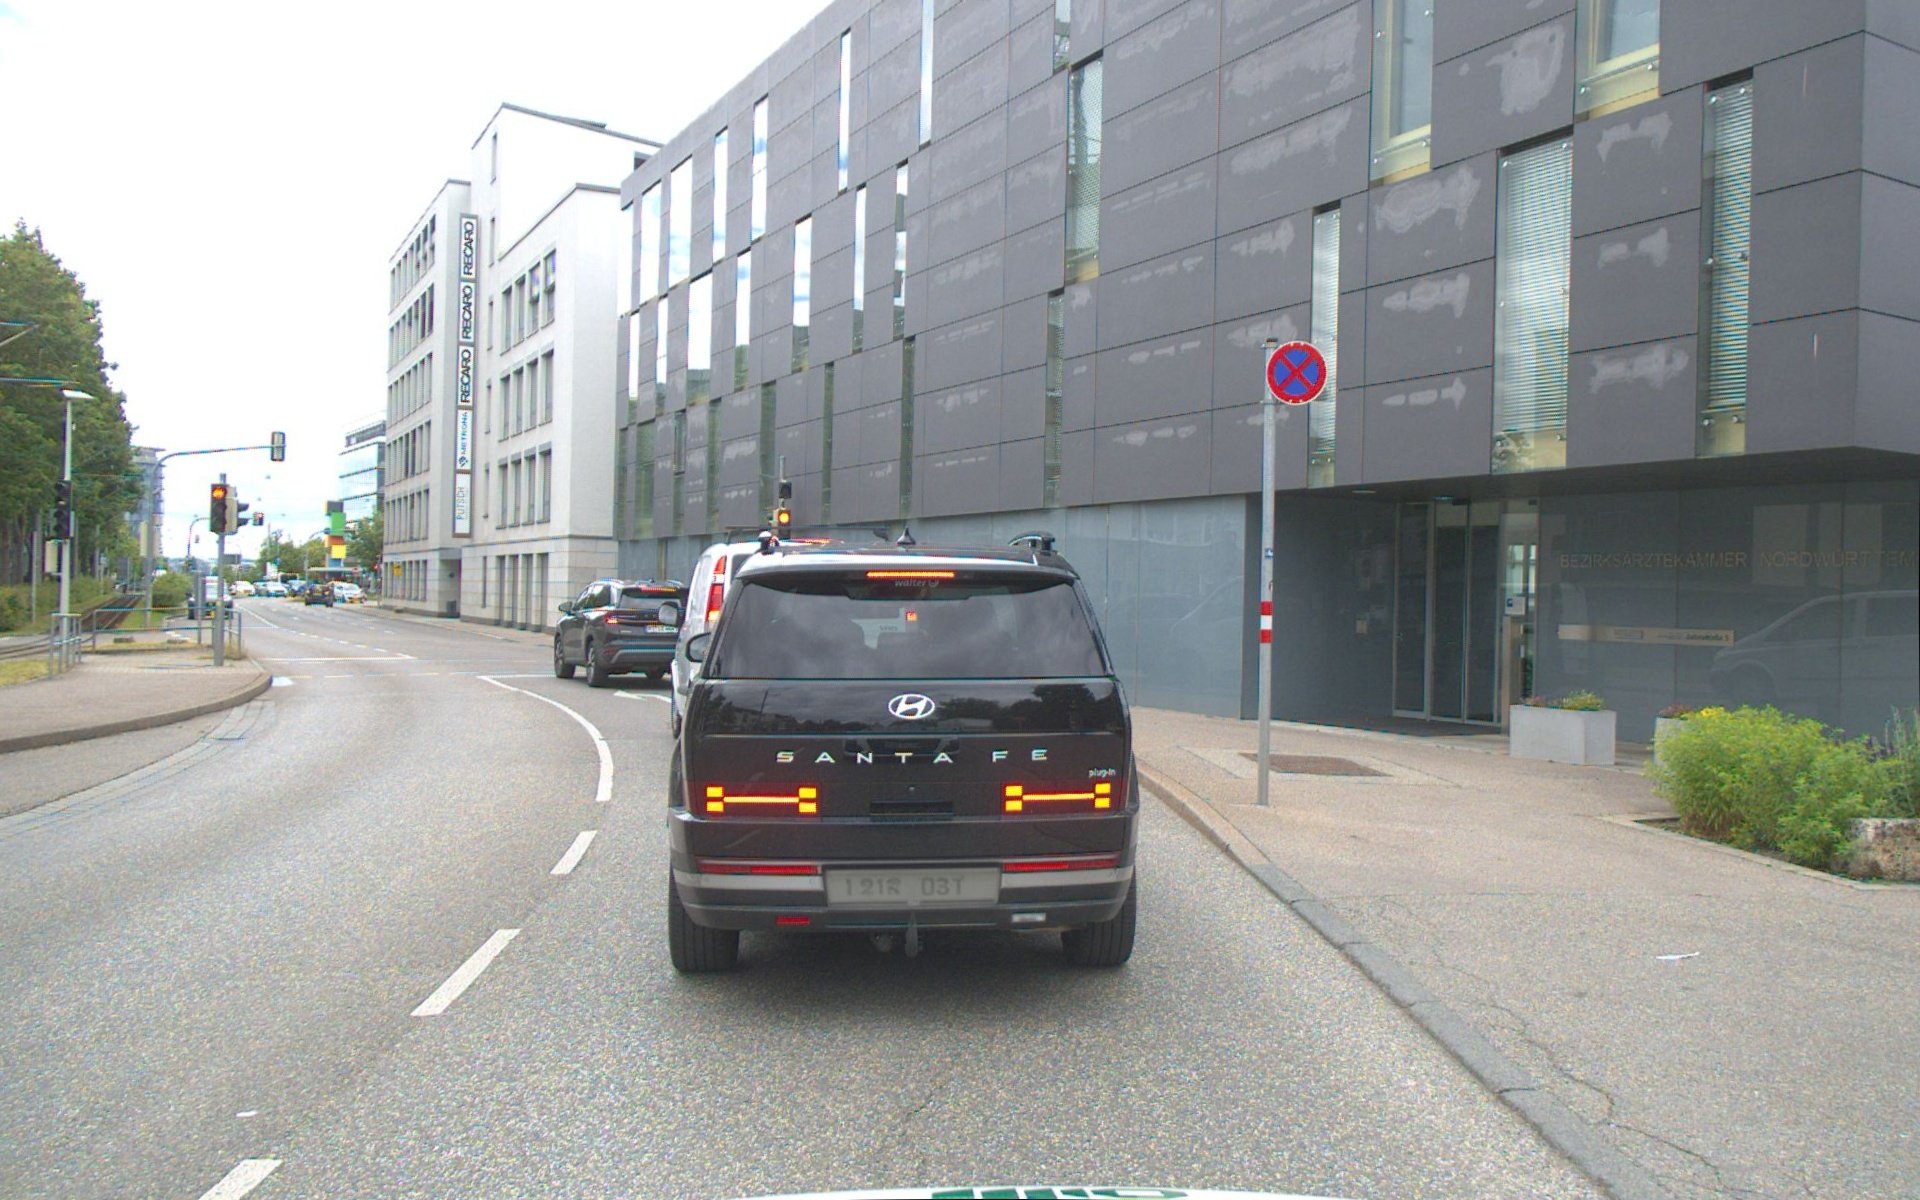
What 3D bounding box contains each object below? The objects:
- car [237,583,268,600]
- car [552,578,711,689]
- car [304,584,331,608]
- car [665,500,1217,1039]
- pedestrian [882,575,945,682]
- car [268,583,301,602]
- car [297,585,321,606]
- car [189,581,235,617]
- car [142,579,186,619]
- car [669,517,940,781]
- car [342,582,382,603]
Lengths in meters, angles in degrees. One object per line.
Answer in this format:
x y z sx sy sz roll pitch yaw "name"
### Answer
-72.019 -0.861 168.259 1.980 1.606 3.946 1 0 -38 "car"
-5.390 0.489 26.762 1.735 1.637 4.159 1 0 -23 "car"
-46.210 -0.306 118.925 1.735 1.637 4.159 1 0 -23 "car"
-0.301 0.555 7.767 1.872 1.780 4.390 0 0 -7 "car"
-0.765 0.464 27.125 0.703 1.724 0.858 2 -1 -28 "pedestrian"
-64.108 -0.688 156.951 1.979 1.733 3.946 1 0 -38 "car"
-53.310 -0.370 135.376 1.735 1.637 4.159 1 0 -23 "car"
-32.803 -0.063 72.617 1.744 1.504 3.971 -1 0 -23 "car"
-38.522 -0.049 80.096 1.658 1.840 4.321 -1 0 -23 "car"
-1.586 0.381 15.119 1.898 2.029 4.520 1 0 -13 "car"
-49.701 -0.608 137.479 1.980 1.707 3.944 1 0 -39 "car"
